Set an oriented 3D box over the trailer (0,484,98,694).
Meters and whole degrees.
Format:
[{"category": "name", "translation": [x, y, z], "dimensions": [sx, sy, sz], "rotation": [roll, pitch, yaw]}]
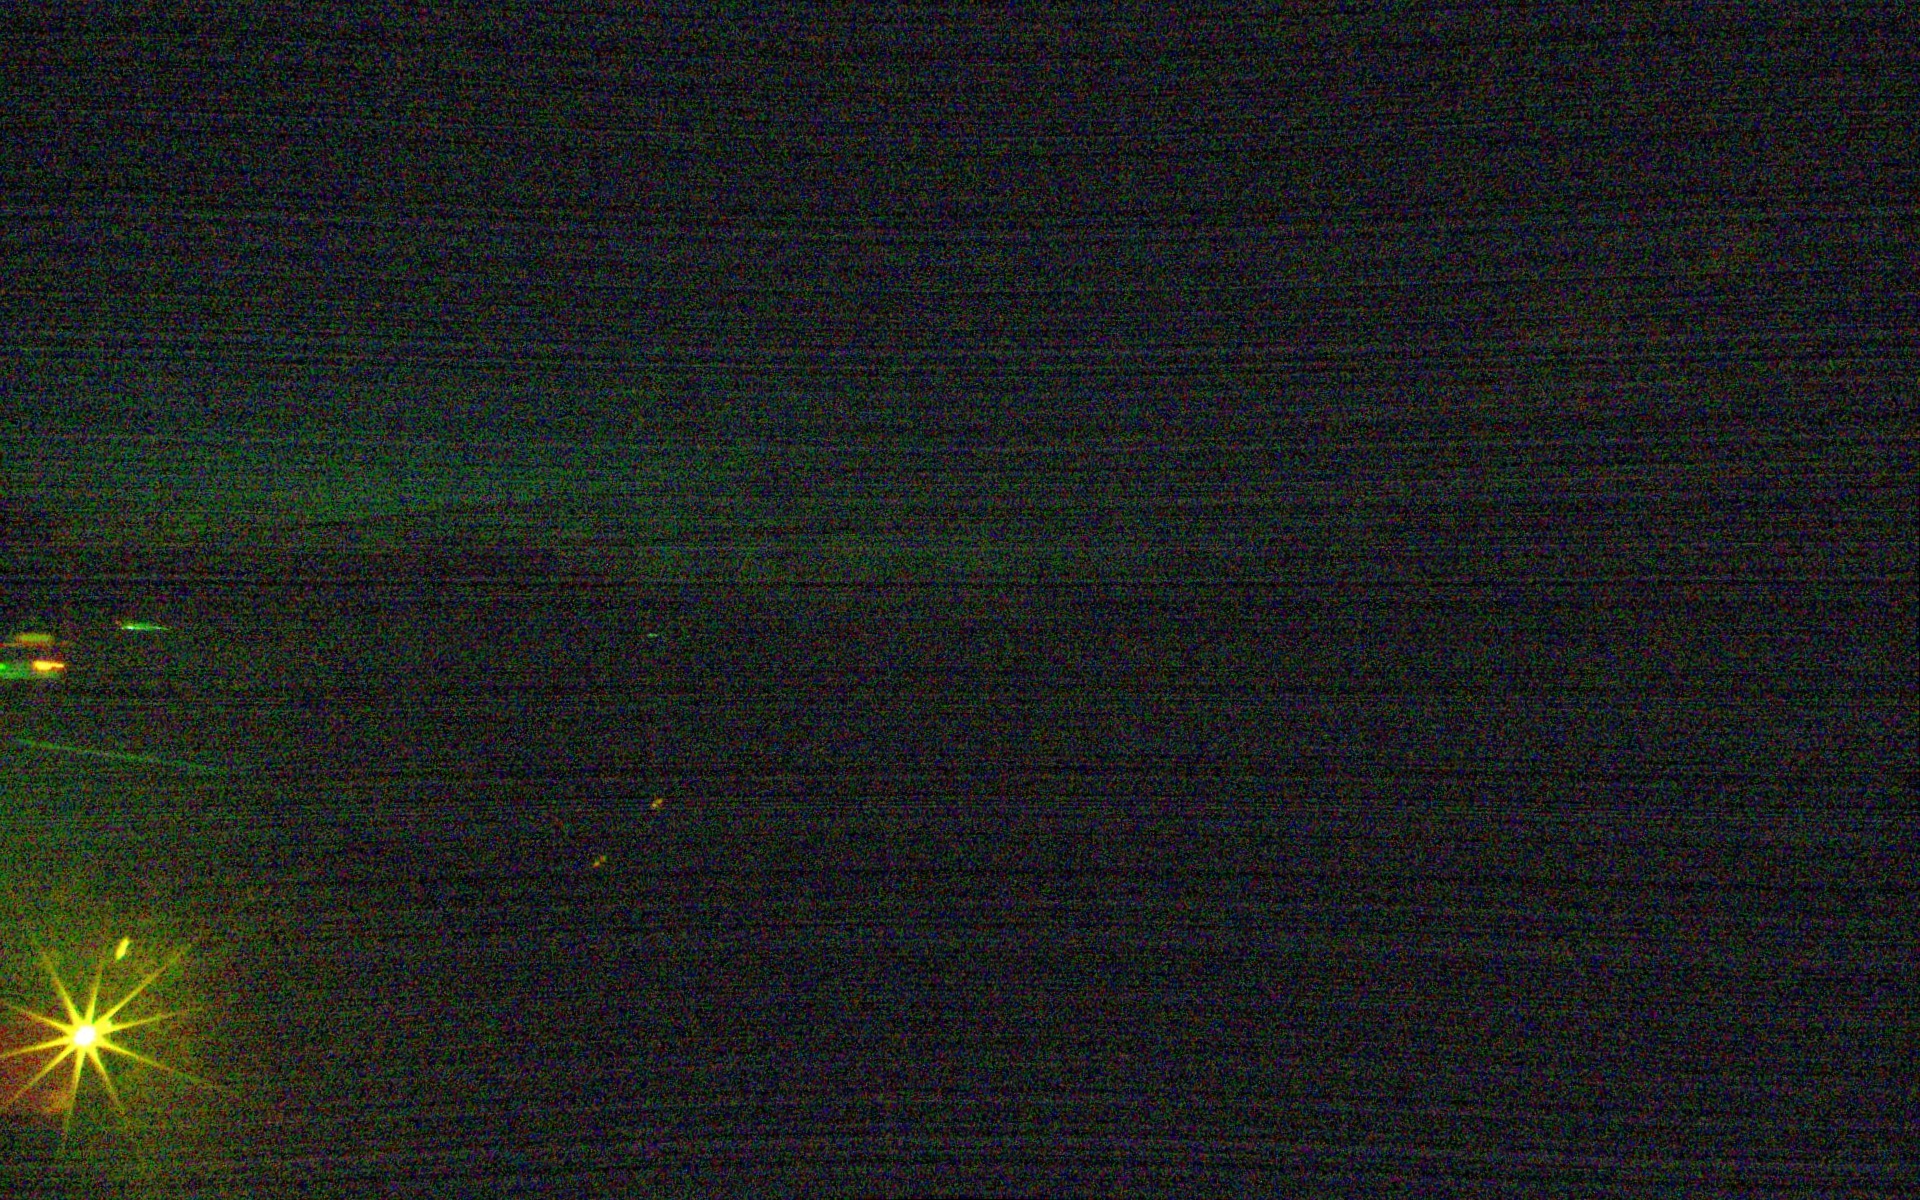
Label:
[{"category": "trailer", "translation": [-24.447, -0.160, 23.080], "dimensions": [13.007, 4.120, 2.851], "rotation": [0, -1, 30]}]
